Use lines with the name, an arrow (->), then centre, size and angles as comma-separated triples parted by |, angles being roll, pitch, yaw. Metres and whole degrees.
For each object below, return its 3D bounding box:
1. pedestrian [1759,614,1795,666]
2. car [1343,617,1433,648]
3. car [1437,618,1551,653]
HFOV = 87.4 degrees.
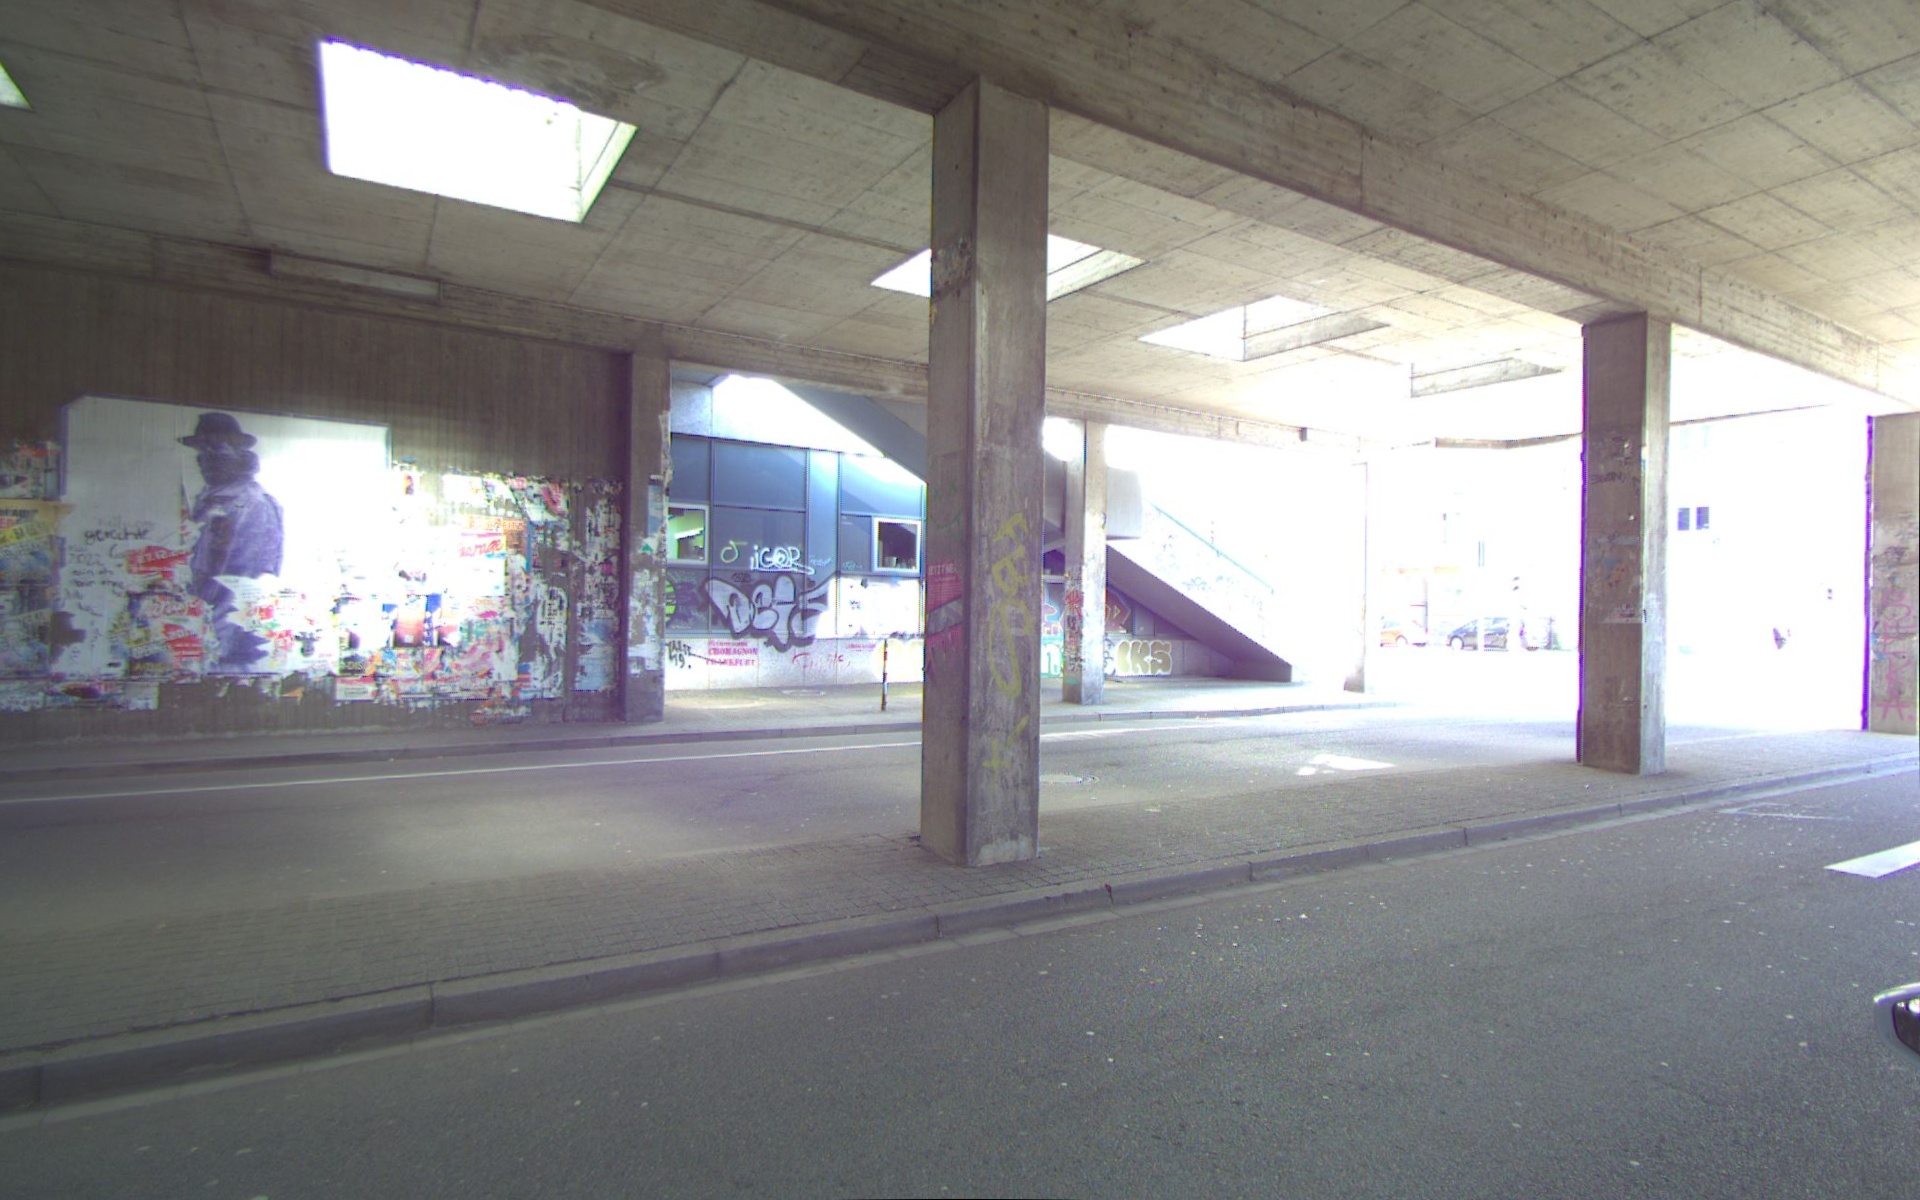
pedestrian -> 26.875, 1.307, 33.042 | 0.732, 1.659, 0.669 | 2, 0, -30
car -> 22.408, 1.686, 52.716 | 1.905, 1.428, 3.965 | 2, 0, -32
car -> 25.275, 1.670, 47.679 | 1.905, 1.428, 4.382 | 2, 0, -32
